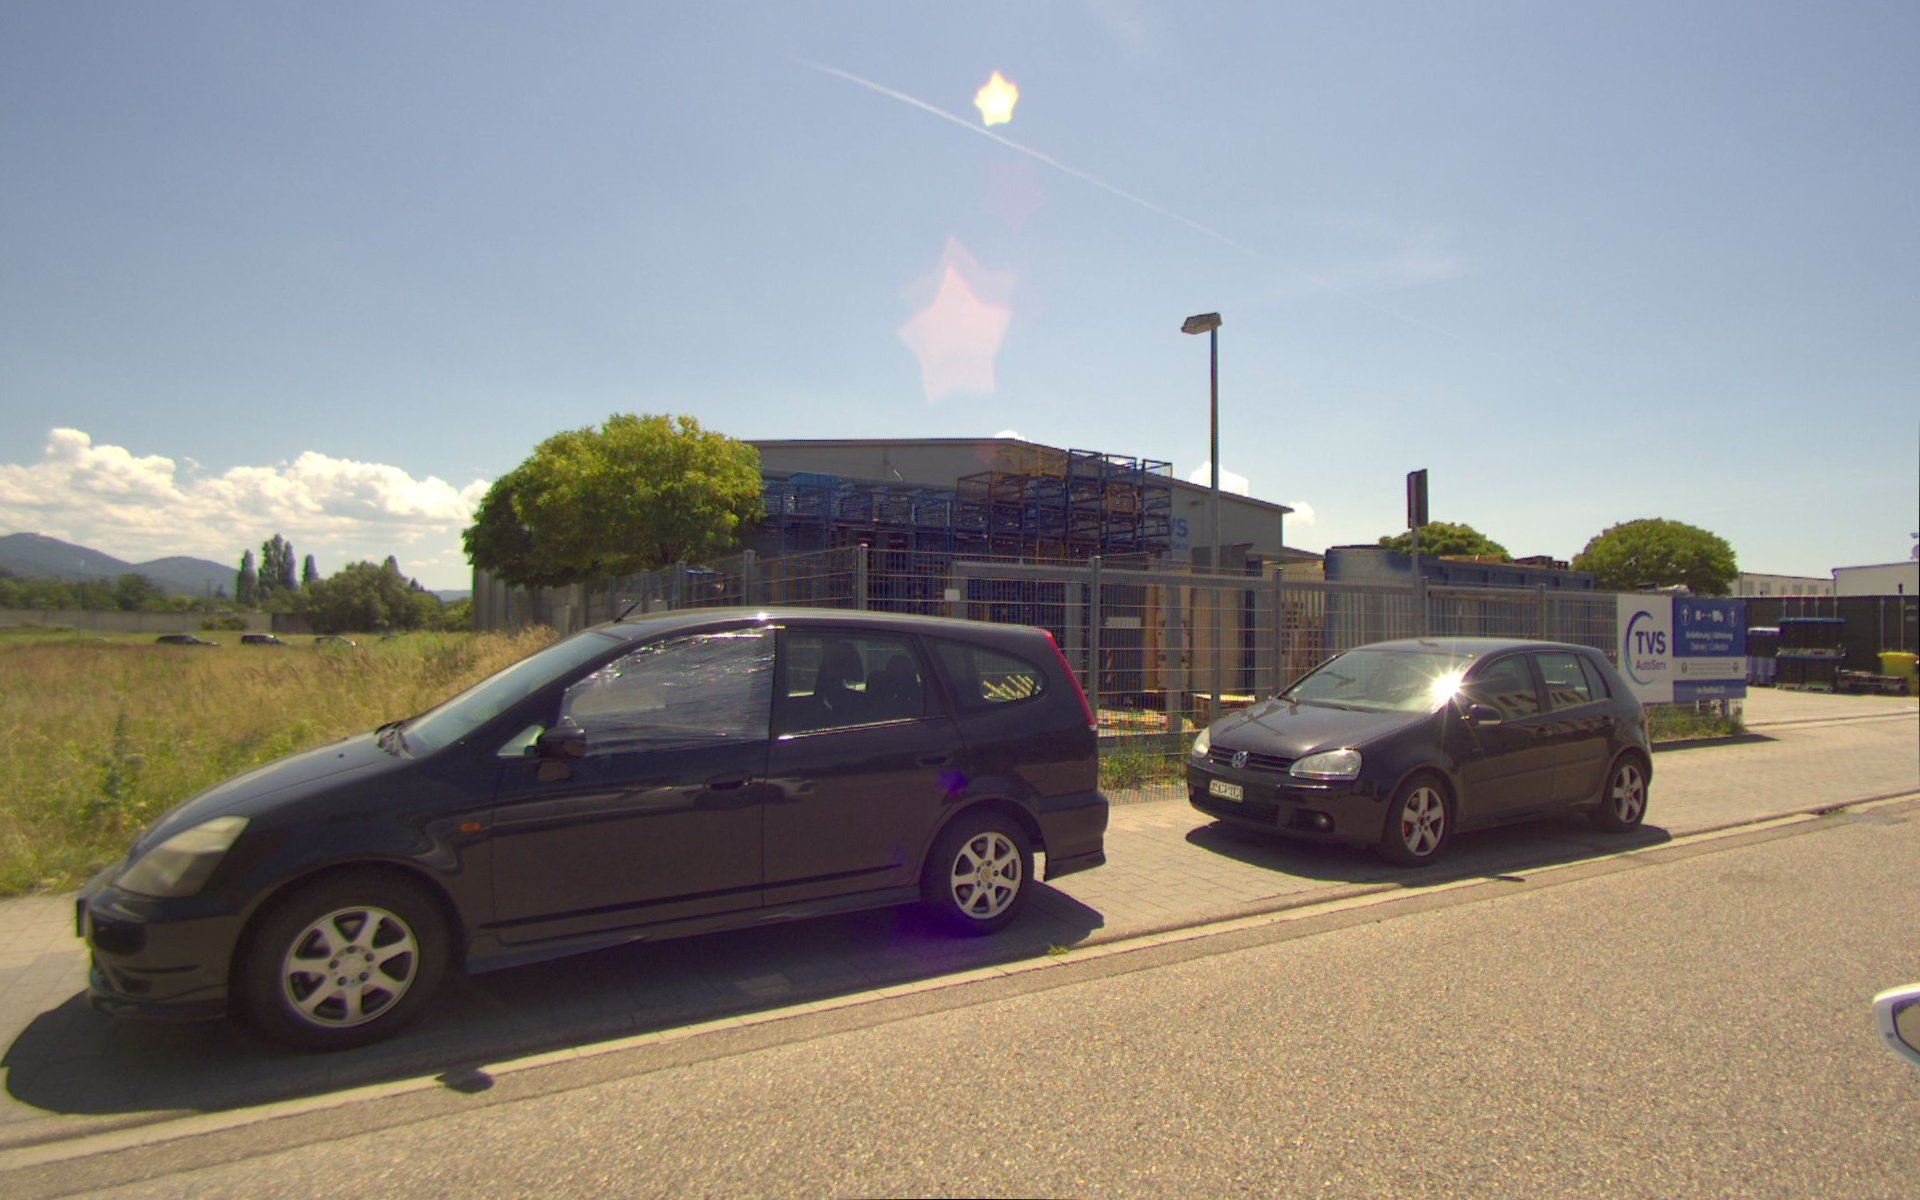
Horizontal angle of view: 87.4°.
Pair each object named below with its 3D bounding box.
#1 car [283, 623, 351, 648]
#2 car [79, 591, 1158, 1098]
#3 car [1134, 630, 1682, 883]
[{"bbox_3d":[-55.471,3.080,86.752,4.863,2.040,1.984,1,-3,-31],"label":"car"},{"bbox_3d":[-1.274,0.821,5.055,4.450,1.577,1.760,2,-1,-31],"label":"car"},{"bbox_3d":[3.595,1.013,7.860,4.282,1.480,1.761,2,-1,-30],"label":"car"}]
